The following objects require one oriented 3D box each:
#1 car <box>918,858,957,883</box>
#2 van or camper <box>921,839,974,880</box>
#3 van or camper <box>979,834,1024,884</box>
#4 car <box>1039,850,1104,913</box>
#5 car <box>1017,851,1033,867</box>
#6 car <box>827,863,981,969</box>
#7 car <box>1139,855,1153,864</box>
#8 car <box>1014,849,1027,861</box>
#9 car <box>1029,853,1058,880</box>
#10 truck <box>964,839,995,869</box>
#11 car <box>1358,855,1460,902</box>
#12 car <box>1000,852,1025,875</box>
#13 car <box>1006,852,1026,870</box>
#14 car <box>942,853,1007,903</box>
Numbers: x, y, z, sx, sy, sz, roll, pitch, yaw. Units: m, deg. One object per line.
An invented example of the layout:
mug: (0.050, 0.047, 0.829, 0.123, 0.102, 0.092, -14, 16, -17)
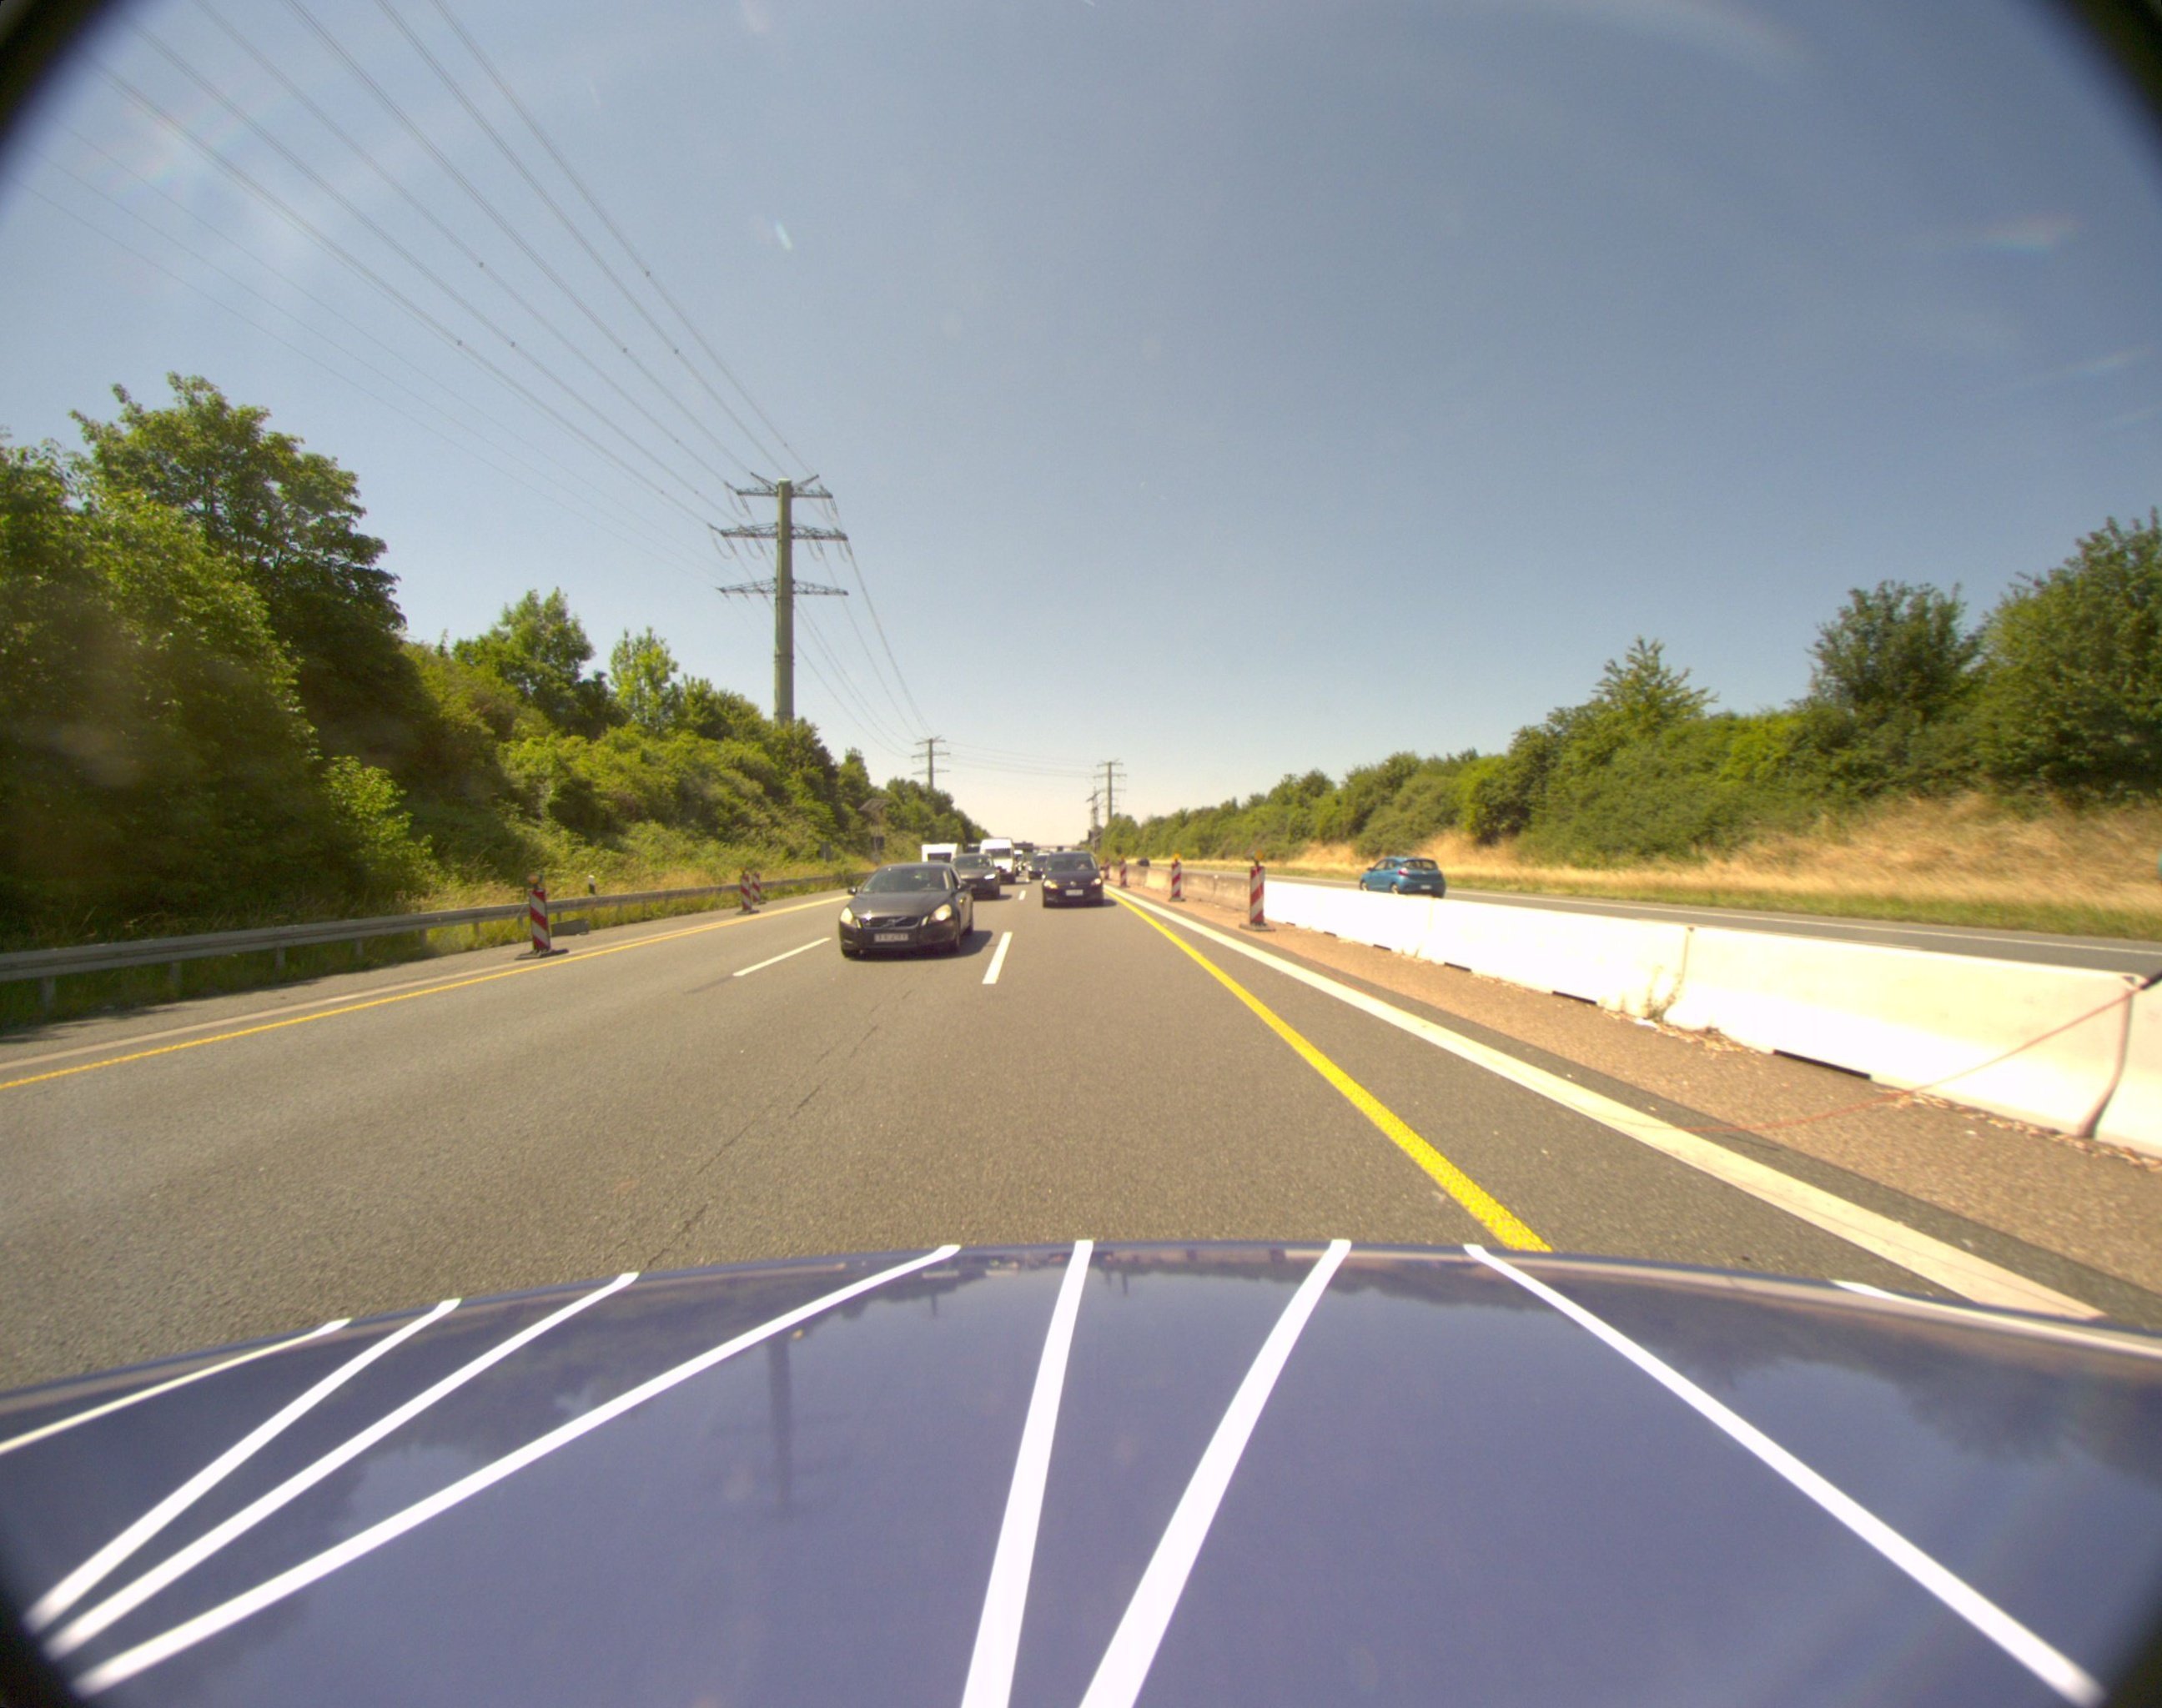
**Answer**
car: (-8.880, 1.000, 47.352, 1.801, 1.399, 4.208, 0, 0, -2)
van or camper: (-9.296, 0.344, 53.690, 2.432, 2.549, 8.415, -2, 0, -2)
van or camper: (-4.336, 0.247, 42.461, 1.999, 2.604, 5.628, 0, 0, -1)
car: (-0.277, 0.748, 22.997, 1.675, 1.619, 4.690, -3, 0, 0)
car: (-6.272, 0.531, 85.654, 1.745, 1.658, 4.155, -1, 0, -3)
car: (-2.843, 0.927, 13.096, 1.799, 1.433, 3.999, -2, 0, -2)
car: (10.105, 0.841, 118.253, 1.771, 1.346, 3.513, 0, 0, -1)
car: (-8.540, 0.130, 107.999, 1.745, 1.658, 4.155, -1, 0, -3)
car: (-2.415, 0.766, 49.009, 1.745, 1.658, 4.155, -1, 0, -3)
truck: (-11.712, -0.015, 88.288, 2.431, 3.122, 7.646, -4, 0, 0)
car: (11.570, 0.825, 27.056, 1.895, 1.508, 3.478, -2, 0, -5)
car: (-5.311, 0.722, 58.908, 1.745, 1.658, 4.155, -1, 0, -3)
car: (-6.064, 0.638, 71.104, 1.745, 1.658, 4.155, -1, 0, -3)
car: (-3.802, 0.807, 27.740, 1.745, 1.658, 4.156, -1, 0, 0)
